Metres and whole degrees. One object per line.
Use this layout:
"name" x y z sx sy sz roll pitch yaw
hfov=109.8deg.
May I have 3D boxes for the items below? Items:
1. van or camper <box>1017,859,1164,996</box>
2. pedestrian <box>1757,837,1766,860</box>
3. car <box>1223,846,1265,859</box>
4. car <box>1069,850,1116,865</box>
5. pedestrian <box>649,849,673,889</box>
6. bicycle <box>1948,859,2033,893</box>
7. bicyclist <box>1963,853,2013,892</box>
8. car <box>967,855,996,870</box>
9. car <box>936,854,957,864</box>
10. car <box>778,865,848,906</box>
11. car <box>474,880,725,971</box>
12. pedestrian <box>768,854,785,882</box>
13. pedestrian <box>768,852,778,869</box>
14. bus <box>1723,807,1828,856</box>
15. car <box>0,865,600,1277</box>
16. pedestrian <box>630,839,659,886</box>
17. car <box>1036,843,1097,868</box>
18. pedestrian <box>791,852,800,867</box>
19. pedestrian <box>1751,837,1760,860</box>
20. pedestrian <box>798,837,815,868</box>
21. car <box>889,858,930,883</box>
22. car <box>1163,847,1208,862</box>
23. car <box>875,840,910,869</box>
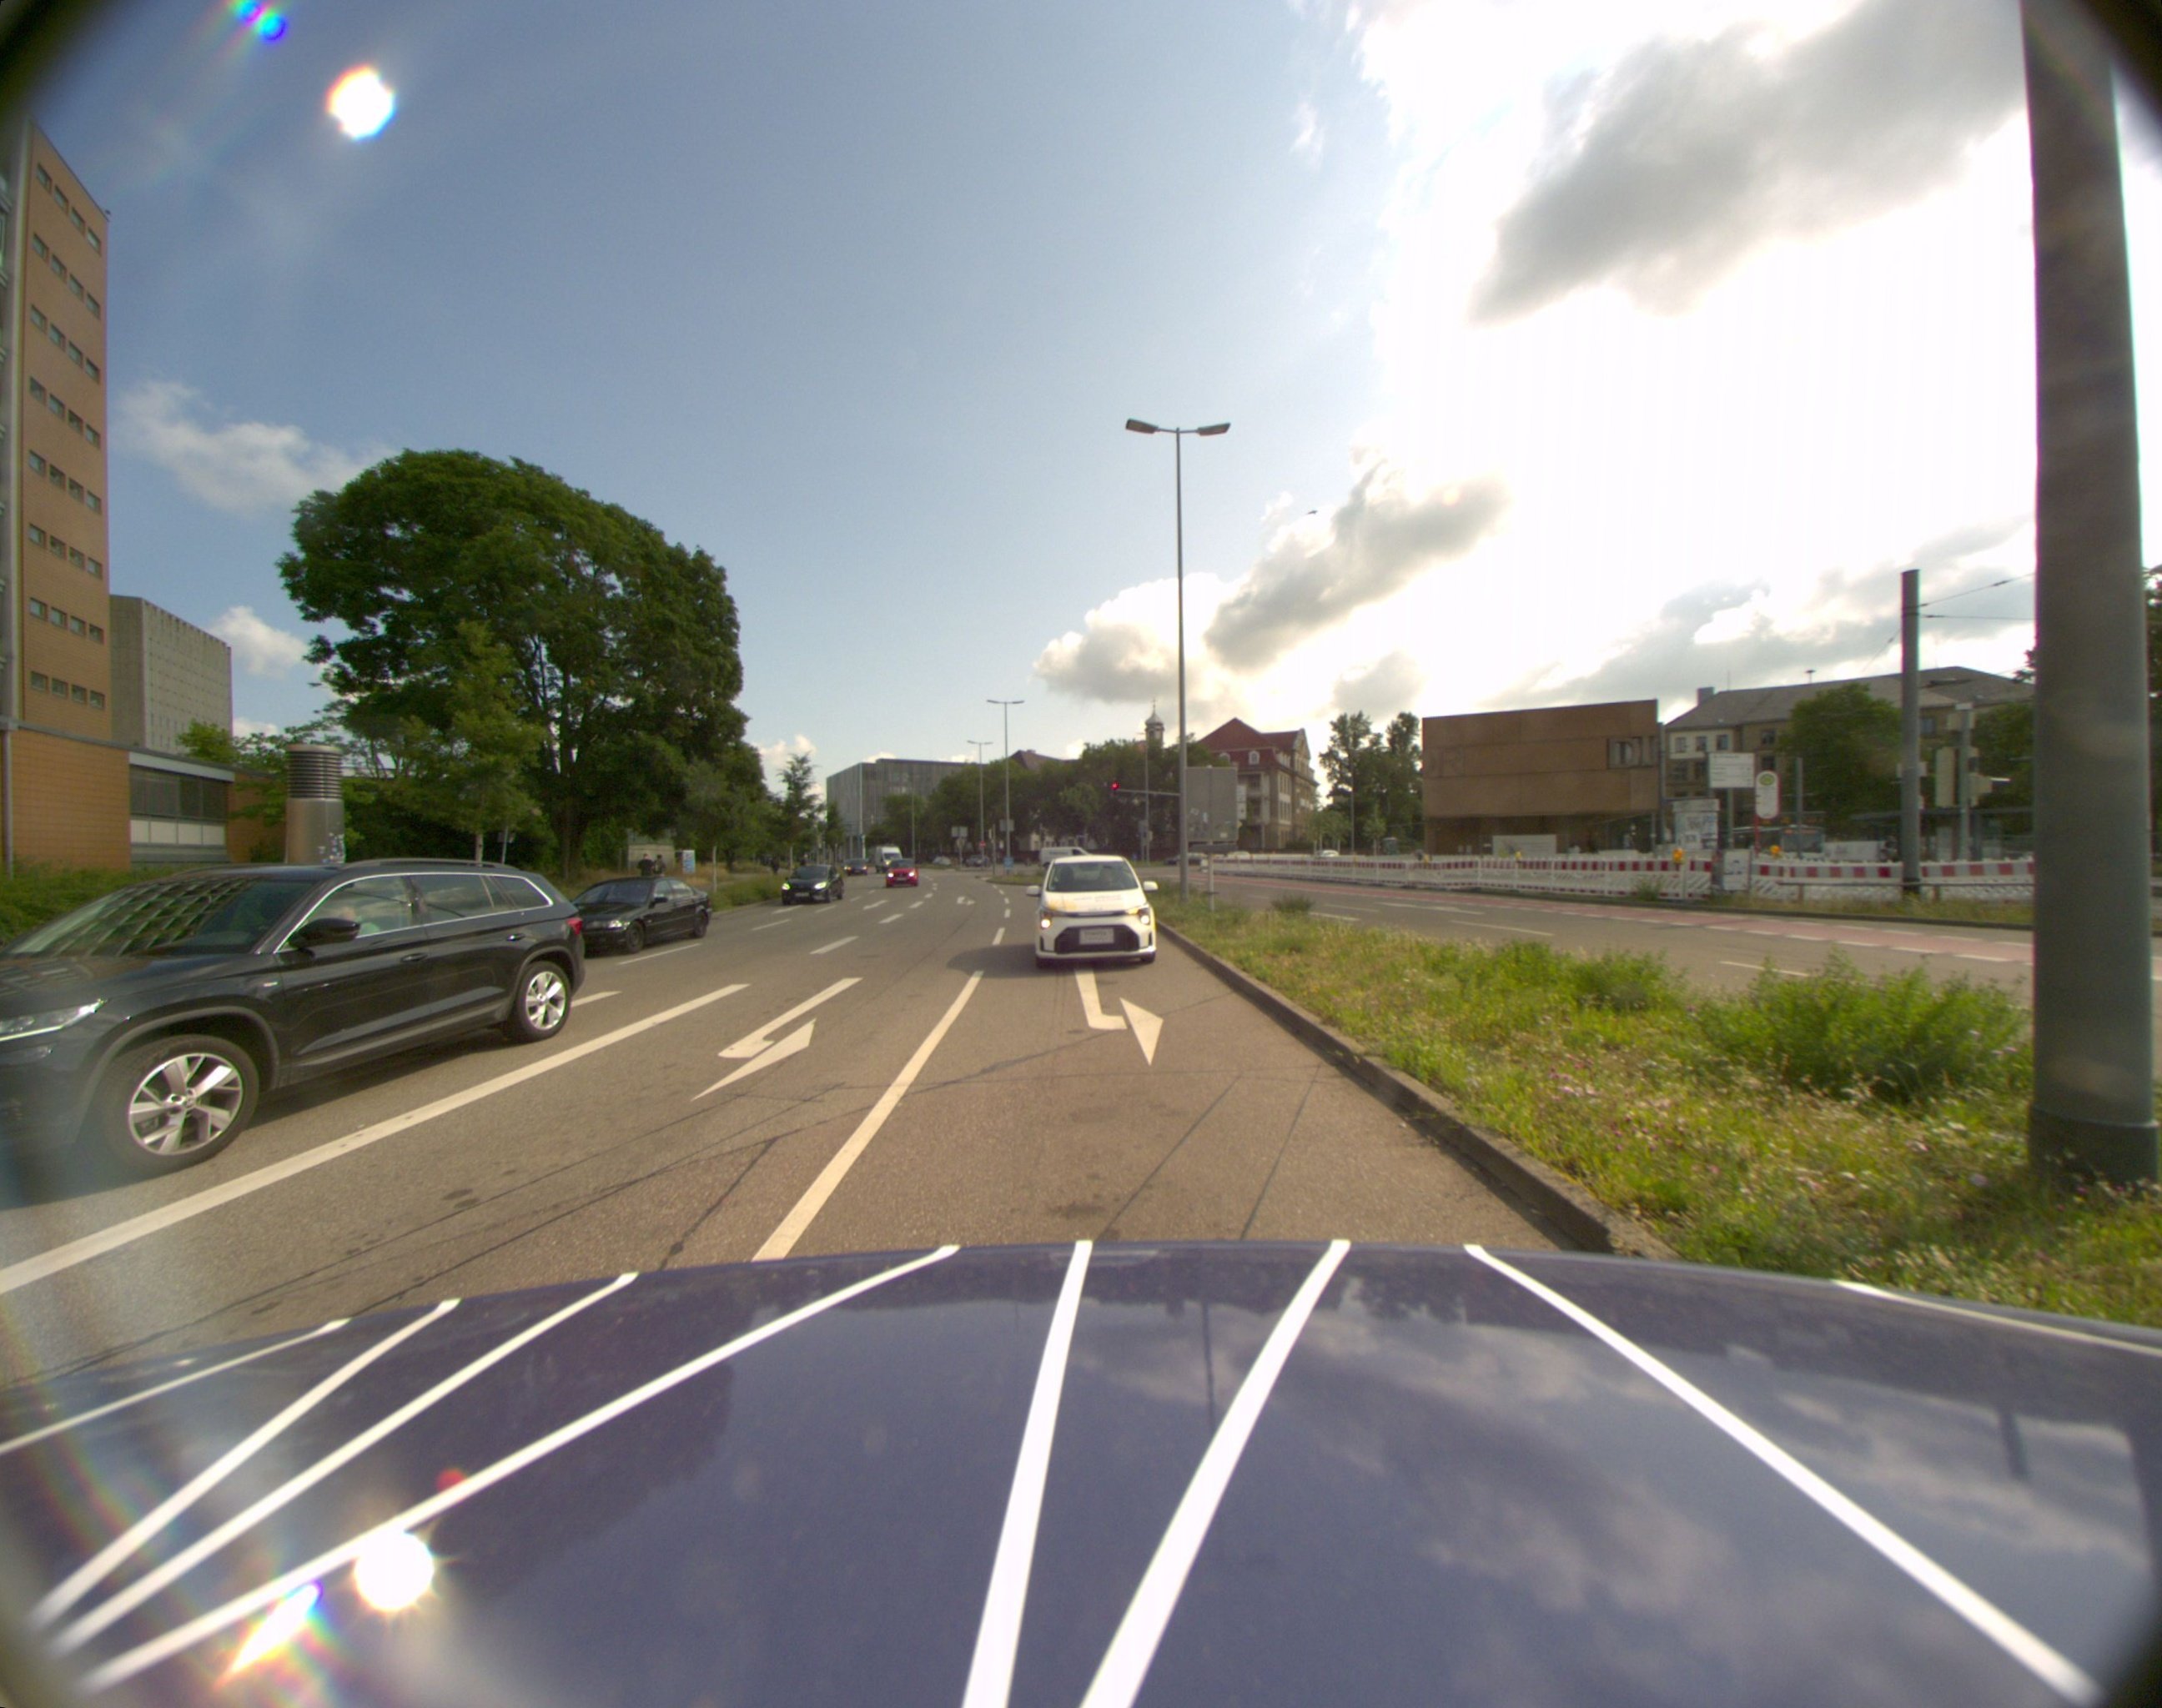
"van or camper" 0.132 0.848 10.557 1.627 1.467 4.000 1 0 1
"pedestrian" 47.555 -0.390 53.117 0.357 1.593 0.365 0 1 20
"car" 16.752 -0.136 77.970 4.137 1.382 1.756 0 0 -30
"car" 1.217 0.380 80.757 4.776 1.559 2.001 0 0 8
"pedestrian" -18.590 0.647 33.640 0.672 1.736 0.645 3 1 -1
"bicycle" 27.618 0.661 23.120 0.810 0.986 2.074 -2 -2 24
"bicyclist" 27.628 0.561 23.148 0.695 1.145 0.740 -2 -2 24
"car" -11.937 0.987 90.855 2.003 1.674 4.333 -2 0 -28
"car" -19.517 0.697 109.835 1.961 1.479 5.091 0 0 -22
"car" -10.335 1.156 29.602 1.714 1.445 3.998 0 0 -6
"car" -8.876 1.234 14.587 1.999 1.389 4.509 -1 -1 -1
"pedestrian" -21.817 0.986 54.438 0.988 2.002 1.128 -2 1 -18
"pedestrian" -36.939 0.762 91.151 0.988 2.002 1.128 -1 1 -18
"bus" 55.883 -1.709 61.595 2.957 3.487 12.275 -1 0 26
"car" -5.732 0.997 5.144 1.999 1.659 4.682 -1 1 -1
"pedestrian" -17.736 0.328 30.881 0.760 1.860 0.645 2 1 -1
"car" -1.249 0.108 66.908 5.066 2.002 2.001 -2 1 11
"pedestrian" -37.706 0.737 100.426 0.988 2.002 1.128 -1 1 -18
"pedestrian" 47.101 -0.376 53.088 0.357 1.593 0.365 0 1 20
"pedestrian" -17.944 -0.097 49.693 0.988 2.002 1.128 -2 1 -18
"car" -9.560 0.915 42.640 1.609 1.207 3.009 -2 1 -1
"car" 10.199 0.078 74.176 4.137 1.382 1.756 0 0 -30
"car" -19.513 0.080 78.509 2.489 2.862 6.137 -1 0 -23
